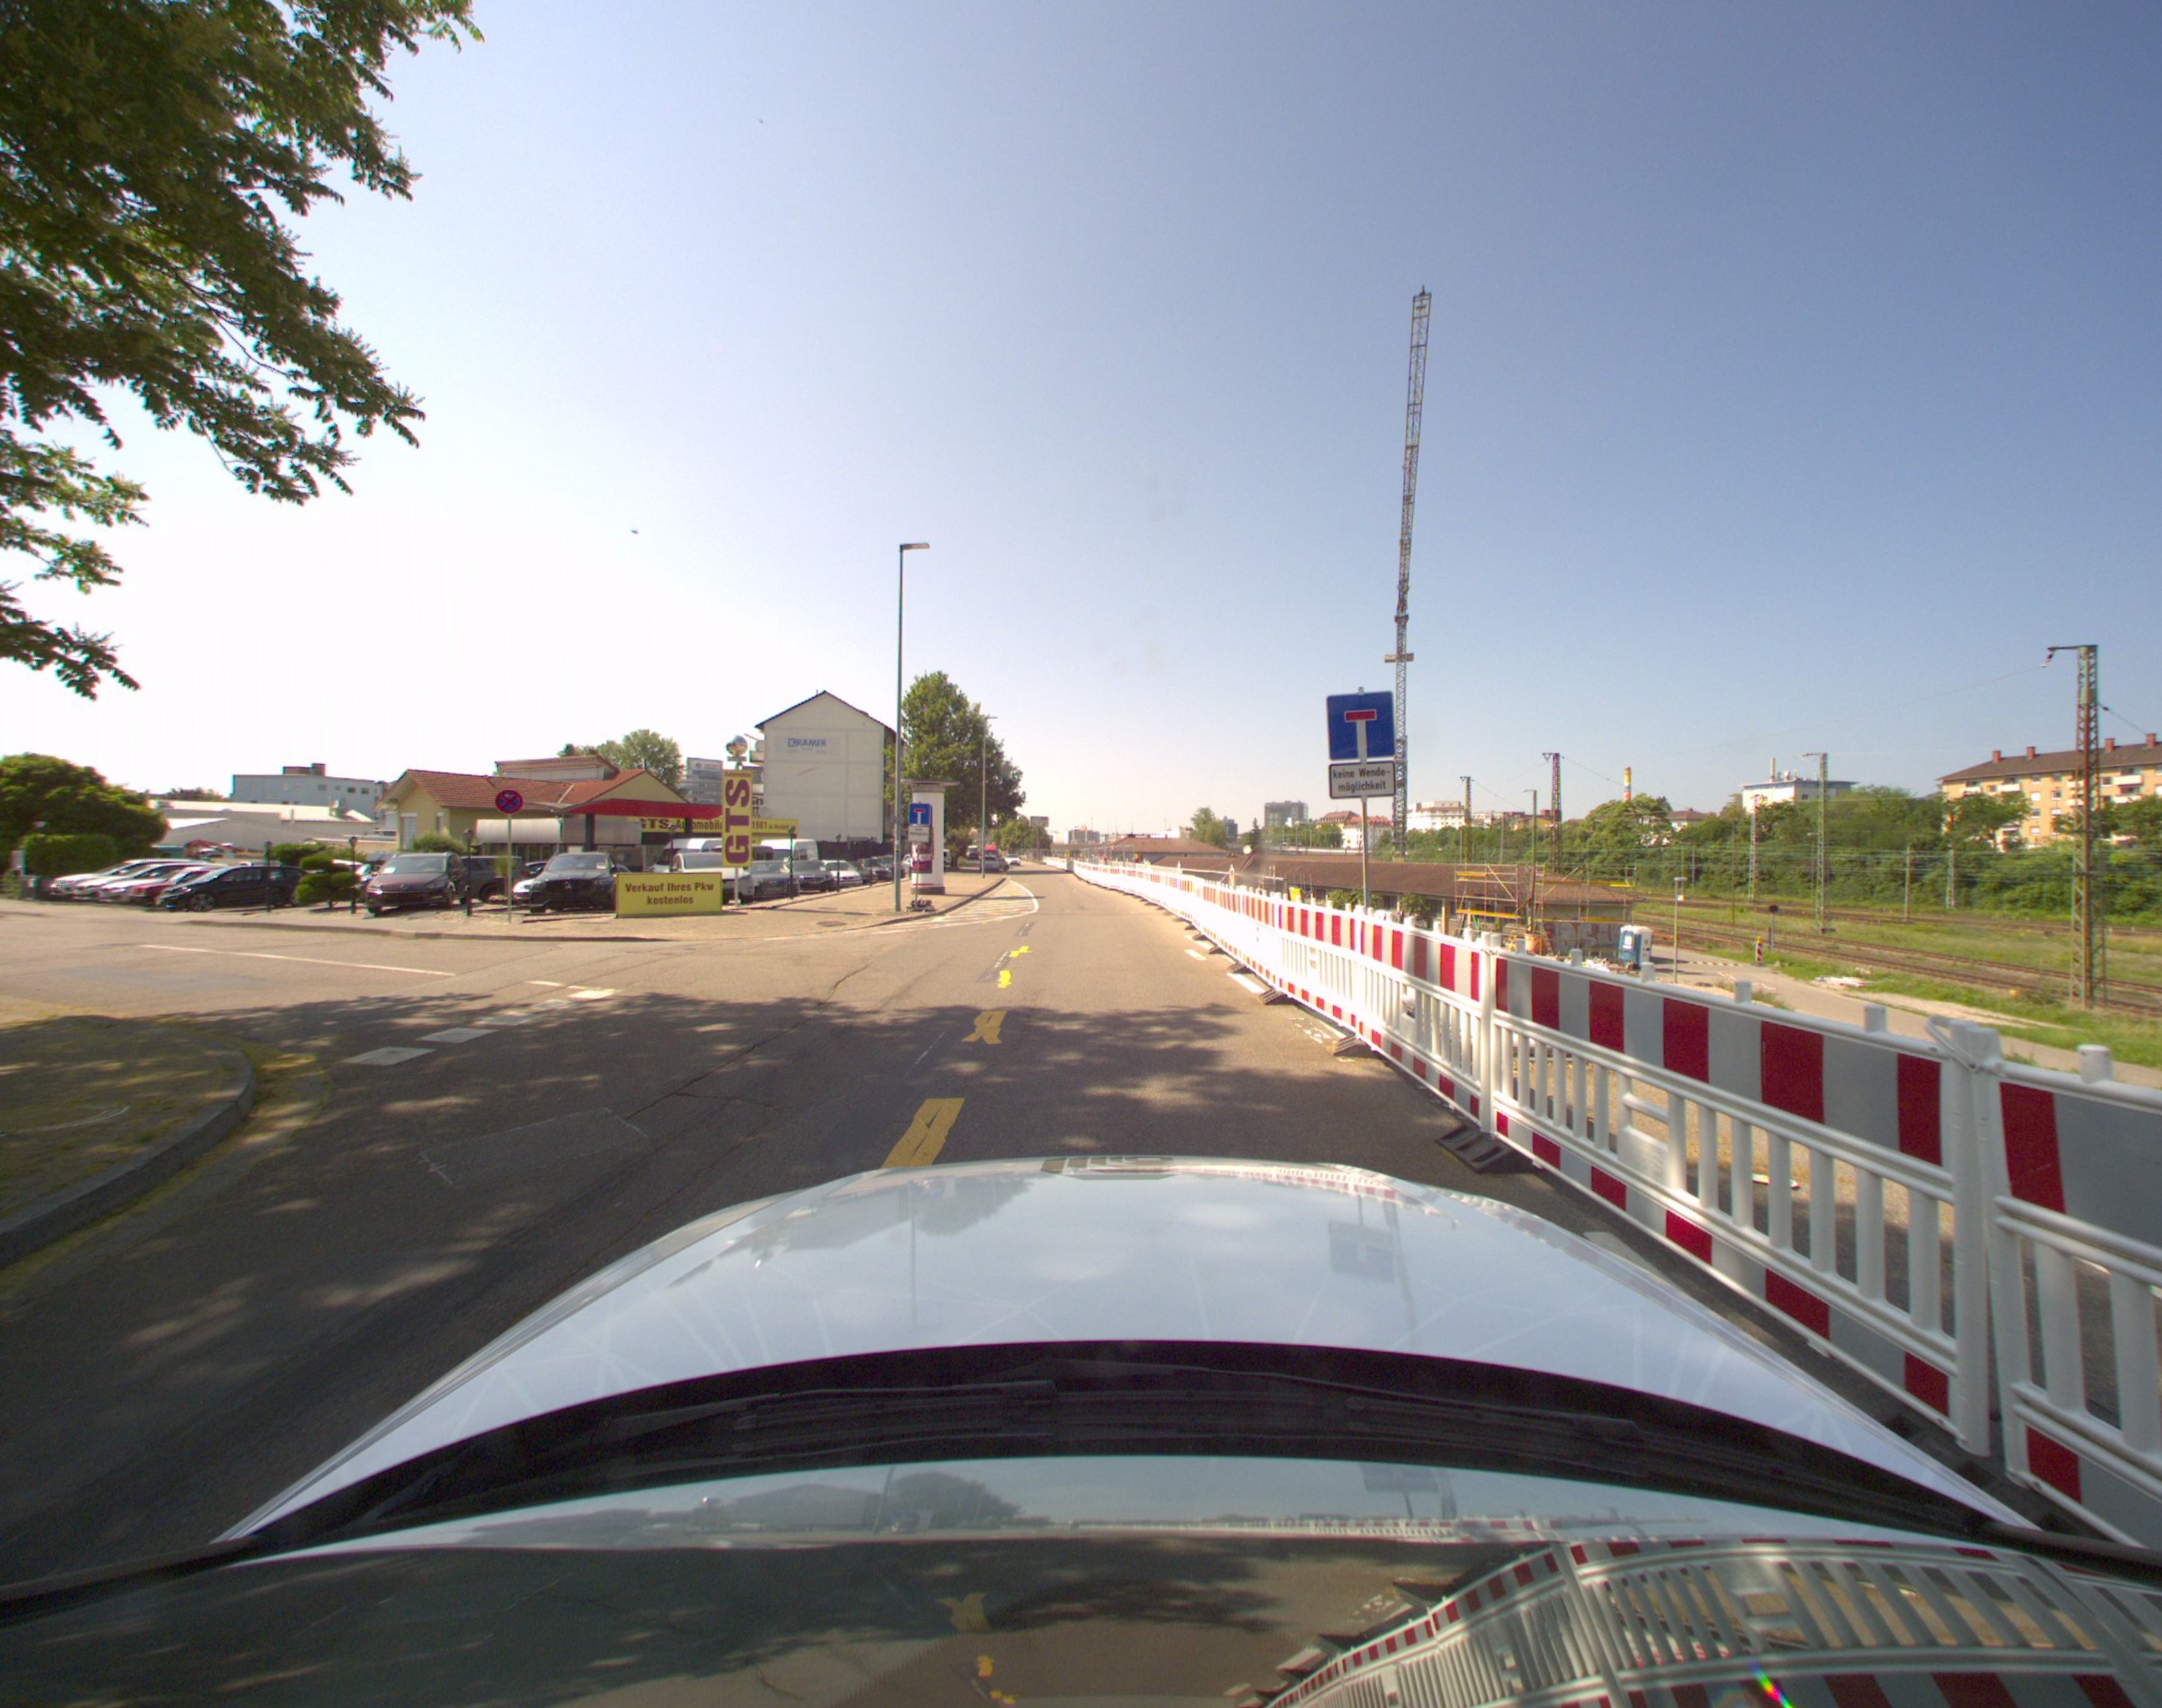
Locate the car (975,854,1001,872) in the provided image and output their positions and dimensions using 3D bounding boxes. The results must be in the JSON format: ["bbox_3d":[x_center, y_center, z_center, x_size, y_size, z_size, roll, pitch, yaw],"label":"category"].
[{"bbox_3d":[-8.353,0.795,73.521,1.863,1.498,4.031,-1,1,0],"label":"car"}]

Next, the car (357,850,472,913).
[{"bbox_3d":[-19.454,0.751,23.975,1.815,1.656,4.275,-1,0,-28],"label":"car"}]

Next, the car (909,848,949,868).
[{"bbox_3d":[-15.824,0.437,84.829,3.924,1.959,1.753,1,0,-11],"label":"car"}]

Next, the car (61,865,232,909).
[{"bbox_3d":[-37.689,1.271,32.981,1.847,1.603,4.148,-1,0,23],"label":"car"}]

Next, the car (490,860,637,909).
[{"bbox_3d":[-18.874,1.051,30.018,1.897,1.575,4.700,0,0,10],"label":"car"}]

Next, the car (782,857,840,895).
[{"bbox_3d":[-11.792,0.931,35.433,1.846,1.473,3.965,-3,0,-26],"label":"car"}]

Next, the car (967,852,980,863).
[{"bbox_3d":[-19.731,0.673,149.645,1.931,1.834,3.922,4,-1,-1],"label":"car"}]

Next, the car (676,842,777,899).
[{"bbox_3d":[-15.582,0.733,36.146,2.238,2.350,4.824,-1,-1,1],"label":"car"}]

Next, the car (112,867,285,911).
[{"bbox_3d":[-33.295,1.264,30.876,1.776,1.489,4.081,-1,0,23],"label":"car"}]

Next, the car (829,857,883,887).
[{"bbox_3d":[-12.520,0.981,45.092,1.679,1.473,3.958,-3,0,-34],"label":"car"}]

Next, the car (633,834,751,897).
[{"bbox_3d":[-18.262,0.551,38.685,2.266,2.758,6.159,-1,-1,4],"label":"car"}]

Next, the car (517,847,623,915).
[{"bbox_3d":[-14.377,0.756,23.169,2.053,1.707,4.278,-1,-2,-26],"label":"car"}]

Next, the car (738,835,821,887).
[{"bbox_3d":[-15.603,0.395,42.504,2.240,2.430,5.713,3,-1,-2],"label":"car"}]

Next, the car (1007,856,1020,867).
[{"bbox_3d":[-8.799,1.027,105.870,1.714,1.416,4.070,0,-1,-5],"label":"car"}]

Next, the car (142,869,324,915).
[{"bbox_3d":[-30.555,1.313,29.510,1.847,1.489,4.156,-1,0,23],"label":"car"}]

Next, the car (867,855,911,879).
[{"bbox_3d":[-12.793,0.891,54.209,1.678,1.473,3.960,-3,0,-31],"label":"car"}]

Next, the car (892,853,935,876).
[{"bbox_3d":[-11.918,0.755,57.774,1.788,1.473,3.960,-2,0,-31],"label":"car"}]

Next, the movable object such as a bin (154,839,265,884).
[{"bbox_3d":[-59.694,0.506,55.900,1.975,2.907,4.863,-1,0,29],"label":"movable object such as a bin"}]

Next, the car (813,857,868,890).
[{"bbox_3d":[-12.121,0.968,40.875,1.791,1.473,3.962,-3,0,-29],"label":"car"}]

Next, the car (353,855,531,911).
[{"bbox_3d":[-22.906,0.970,29.330,4.918,1.842,2.137,0,0,-41],"label":"car"}]

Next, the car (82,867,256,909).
[{"bbox_3d":[-35.417,1.267,31.778,1.847,1.489,4.142,-1,0,23],"label":"car"}]

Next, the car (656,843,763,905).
[{"bbox_3d":[-11.558,0.666,25.139,1.991,1.707,4.610,-1,-2,-38],"label":"car"}]

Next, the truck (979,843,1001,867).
[{"bbox_3d":[-10.344,0.146,92.850,2.234,2.648,5.671,0,-1,-5],"label":"truck"}]

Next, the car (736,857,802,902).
[{"bbox_3d":[-11.542,0.904,29.968,1.846,1.473,3.965,-3,0,-26],"label":"car"}]

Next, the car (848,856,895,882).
[{"bbox_3d":[-12.779,0.919,49.617,1.678,1.473,3.960,-2,0,-31],"label":"car"}]

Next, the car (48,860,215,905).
[{"bbox_3d":[-39.832,1.151,34.290,1.869,1.750,4.195,-1,0,23],"label":"car"}]
